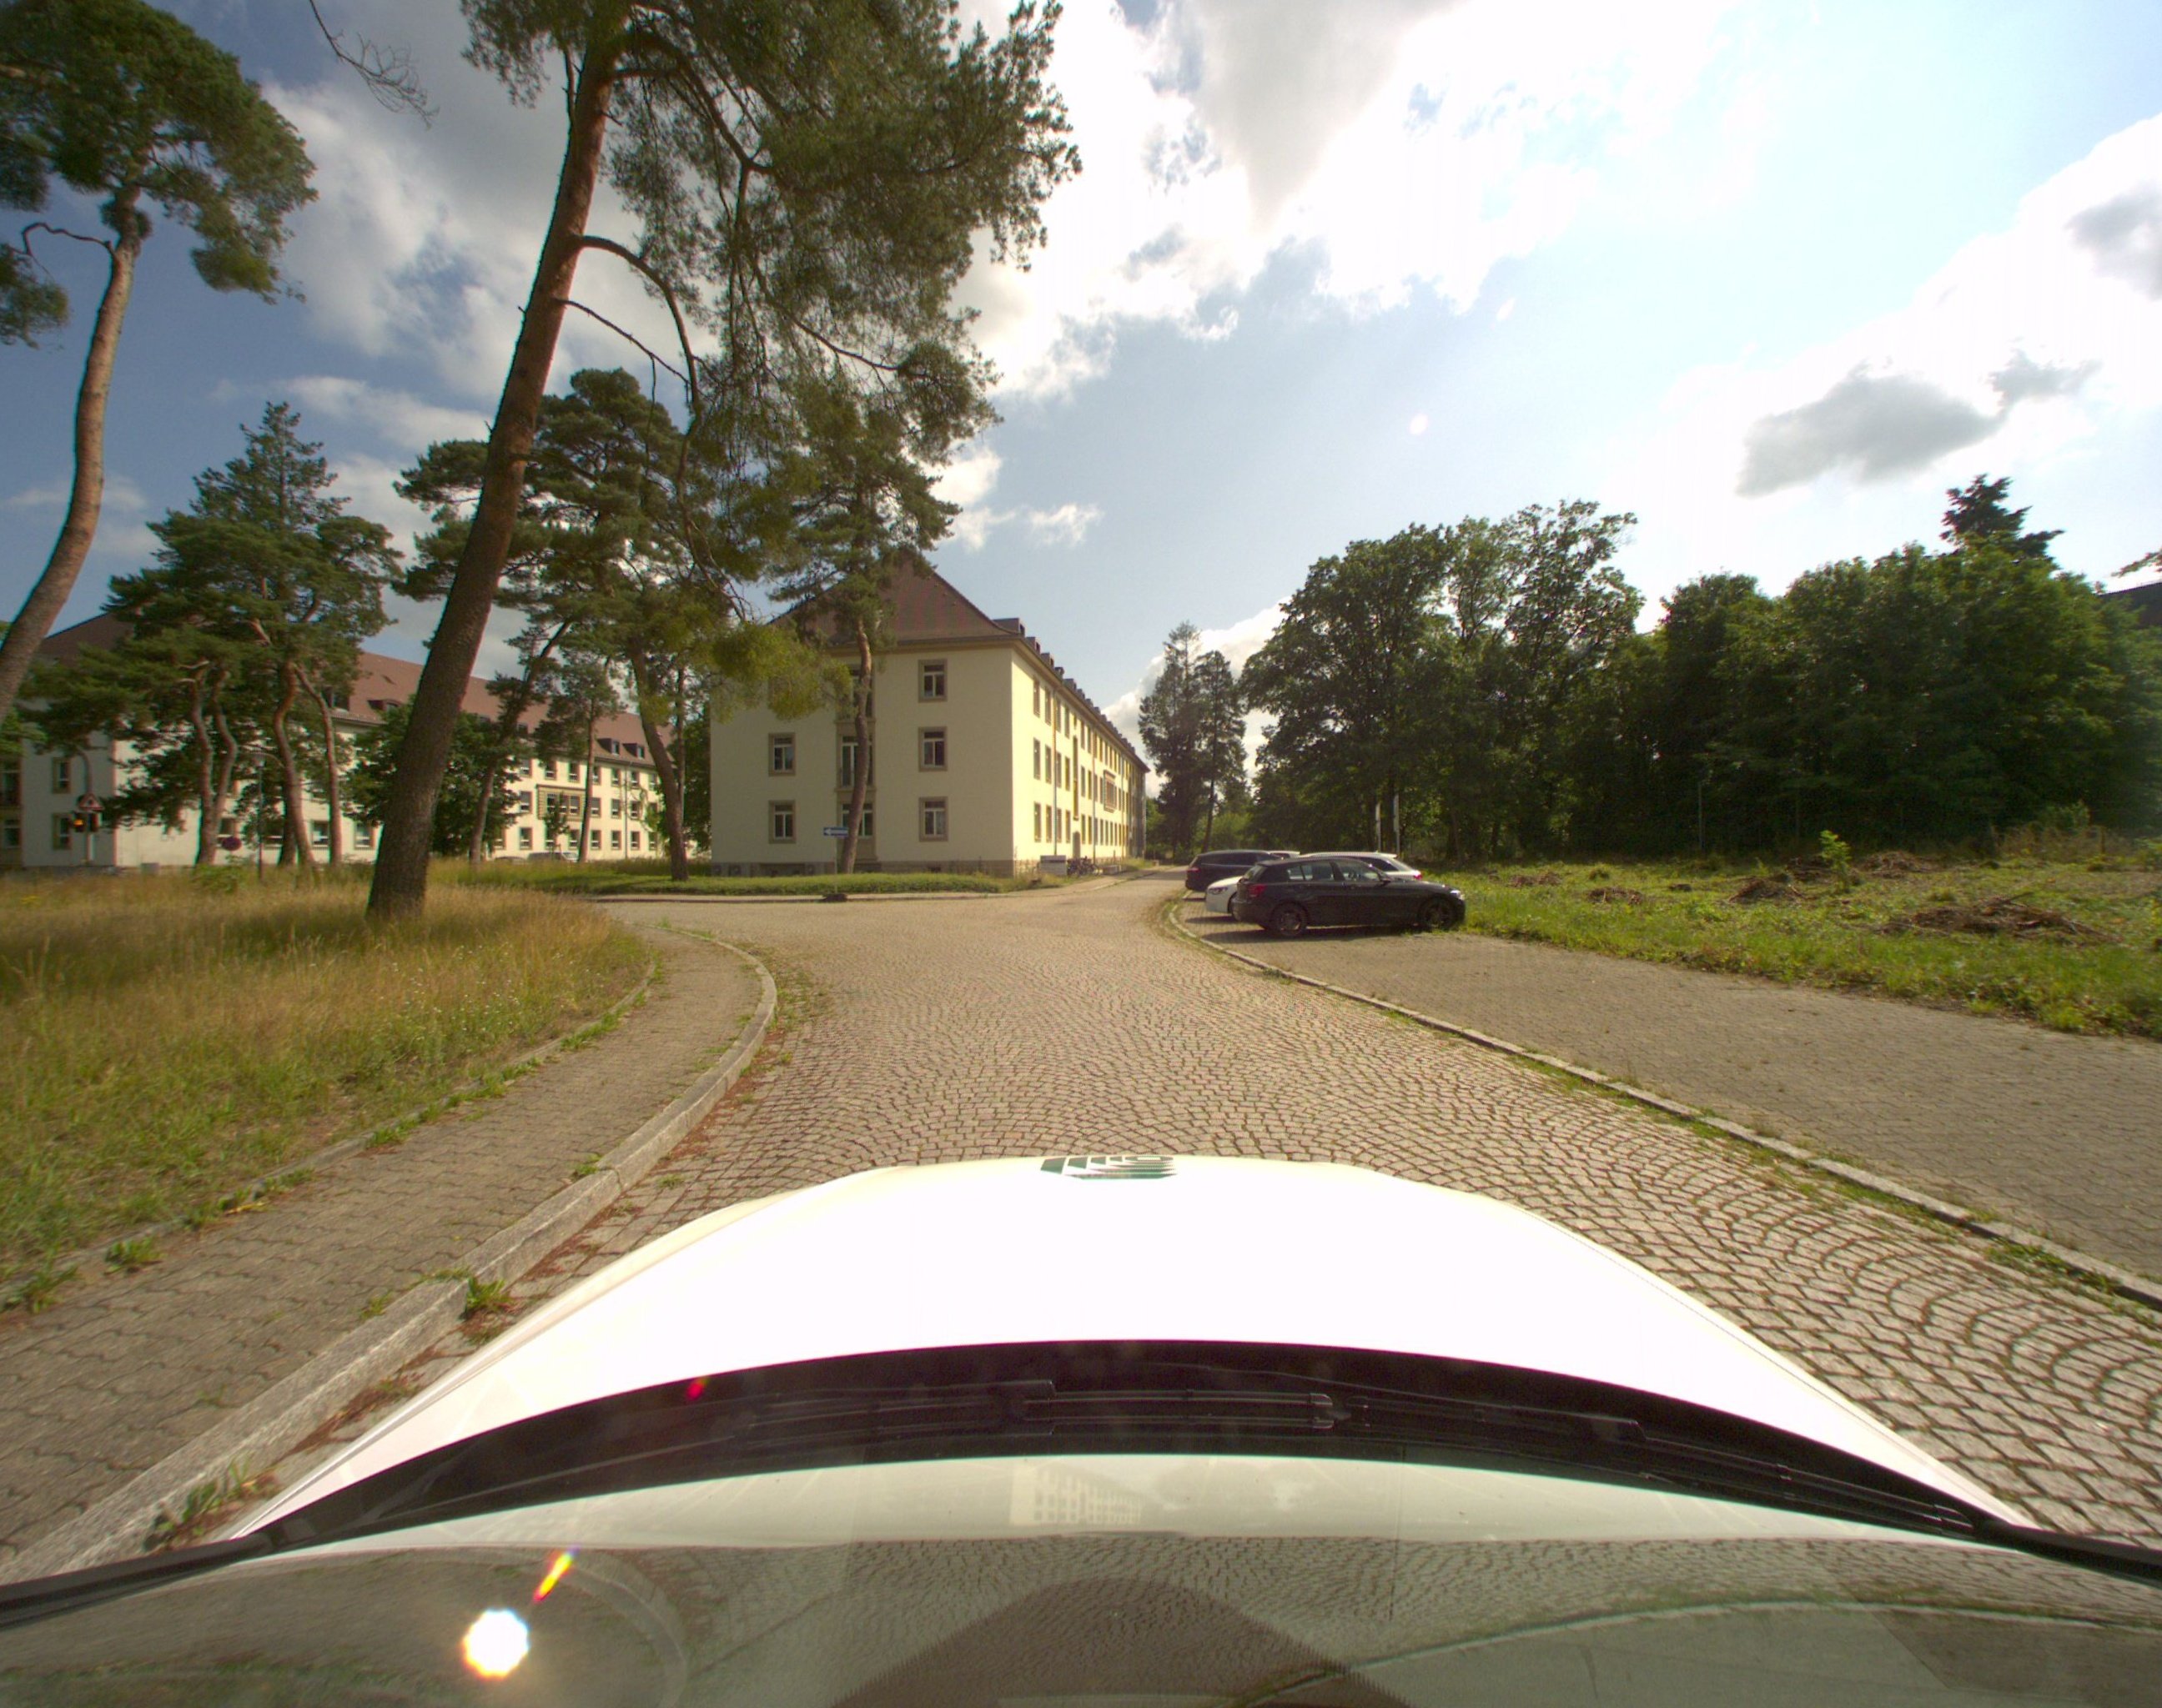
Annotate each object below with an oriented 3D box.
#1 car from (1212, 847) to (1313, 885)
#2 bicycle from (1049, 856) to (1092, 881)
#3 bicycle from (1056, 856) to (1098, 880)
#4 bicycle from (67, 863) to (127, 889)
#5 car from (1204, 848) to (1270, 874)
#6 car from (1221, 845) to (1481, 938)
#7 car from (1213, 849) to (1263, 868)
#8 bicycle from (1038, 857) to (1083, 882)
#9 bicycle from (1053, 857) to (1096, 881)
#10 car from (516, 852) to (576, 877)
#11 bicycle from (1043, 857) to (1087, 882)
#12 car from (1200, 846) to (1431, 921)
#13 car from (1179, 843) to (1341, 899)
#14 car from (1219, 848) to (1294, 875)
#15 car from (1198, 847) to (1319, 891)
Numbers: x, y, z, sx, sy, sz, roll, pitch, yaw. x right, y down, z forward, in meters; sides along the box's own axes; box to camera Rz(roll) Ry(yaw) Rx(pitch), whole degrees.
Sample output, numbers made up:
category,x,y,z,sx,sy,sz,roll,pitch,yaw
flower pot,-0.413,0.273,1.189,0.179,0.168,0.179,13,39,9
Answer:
category,x,y,z,sx,sy,sz,roll,pitch,yaw
car,7.944,0.525,35.881,4.180,1.484,1.826,-2,-1,11
bicycle,-0.565,0.775,43.406,2.205,1.260,0.625,-1,0,16
bicycle,-0.208,0.788,45.252,2.207,1.260,0.625,-1,0,11
bicycle,-43.292,0.968,35.842,0.485,1.100,1.594,-1,0,21
car,10.309,0.470,53.857,4.160,1.543,1.826,-2,-1,11
car,4.982,0.655,15.452,4.310,1.500,1.830,-2,1,0
car,13.632,0.368,70.598,4.160,1.484,1.826,-2,-1,11
bicycle,-1.068,0.780,41.720,2.205,1.260,0.625,-1,0,16
bicycle,-0.362,0.789,44.252,2.207,1.260,0.625,-1,0,11
car,-44.678,0.852,68.052,4.034,1.991,1.718,-1,0,10
bicycle,-0.833,0.793,42.507,2.207,1.260,0.625,-1,0,11
car,5.197,0.645,18.646,4.834,1.472,1.879,-2,1,8
car,5.614,0.536,25.954,4.825,1.552,1.884,-2,-1,8
car,10.377,0.452,48.360,4.238,1.484,1.826,-2,-1,11
car,6.736,0.579,31.260,4.373,1.484,1.770,-2,-1,8
